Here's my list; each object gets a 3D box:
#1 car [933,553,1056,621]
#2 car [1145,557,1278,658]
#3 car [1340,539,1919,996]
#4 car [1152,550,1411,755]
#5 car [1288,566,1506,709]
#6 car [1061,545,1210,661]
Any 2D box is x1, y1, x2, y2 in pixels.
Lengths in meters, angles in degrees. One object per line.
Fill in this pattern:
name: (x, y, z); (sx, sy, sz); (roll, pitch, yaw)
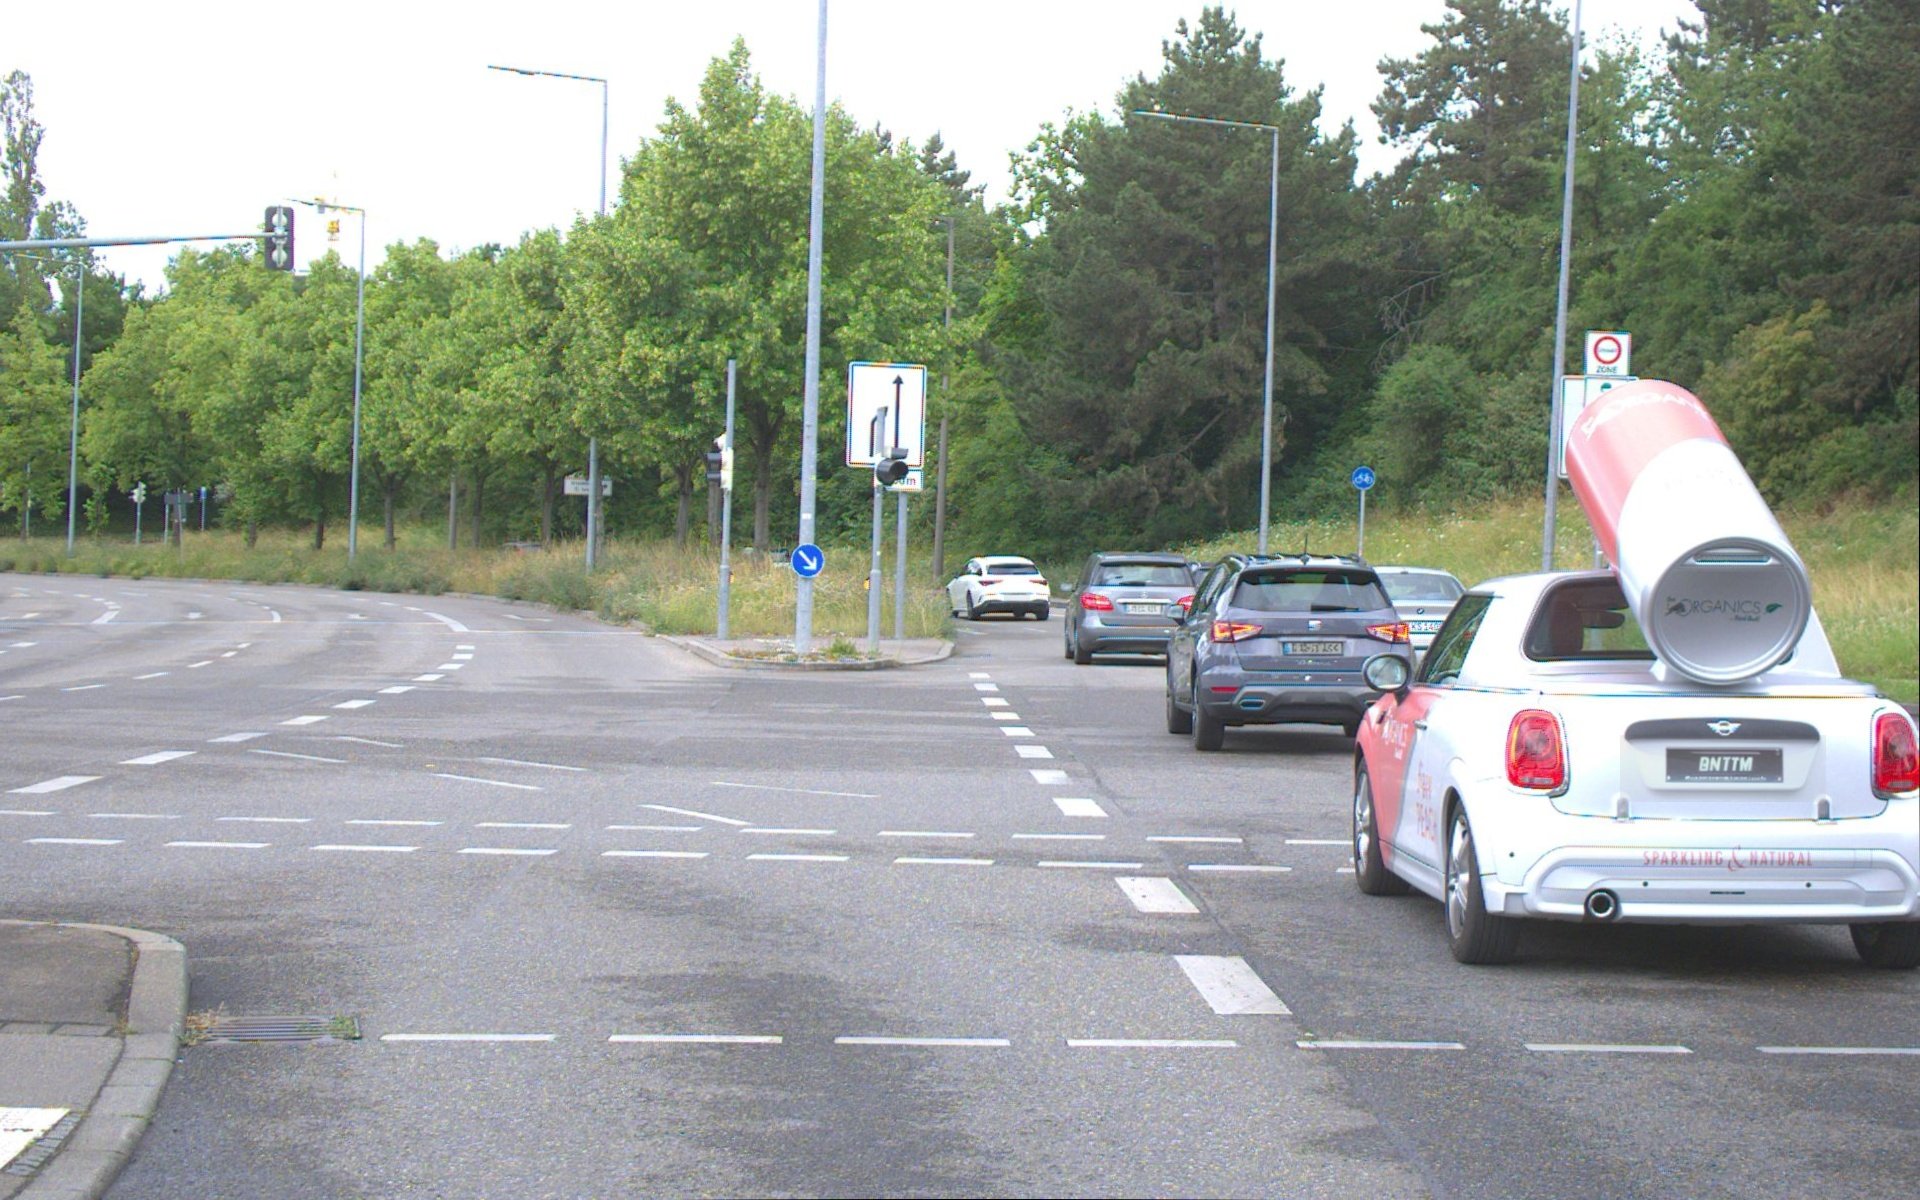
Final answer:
car: (0.755, -0.315, 78.616); (1.844, 1.501, 4.532); (1, 0, -12)
car: (4.019, 0.089, 55.496); (1.746, 1.480, 4.356); (1, 2, -1)
car: (2.599, 0.540, 13.388); (1.821, 1.500, 3.495); (1, 1, 0)
car: (2.518, 0.366, 27.688); (1.624, 1.488, 3.838); (1, 1, -1)
car: (4.662, 0.358, 37.220); (1.746, 1.378, 4.291); (1, 1, -1)
car: (2.370, 0.006, 47.287); (1.746, 1.503, 4.048); (1, 1, -1)
